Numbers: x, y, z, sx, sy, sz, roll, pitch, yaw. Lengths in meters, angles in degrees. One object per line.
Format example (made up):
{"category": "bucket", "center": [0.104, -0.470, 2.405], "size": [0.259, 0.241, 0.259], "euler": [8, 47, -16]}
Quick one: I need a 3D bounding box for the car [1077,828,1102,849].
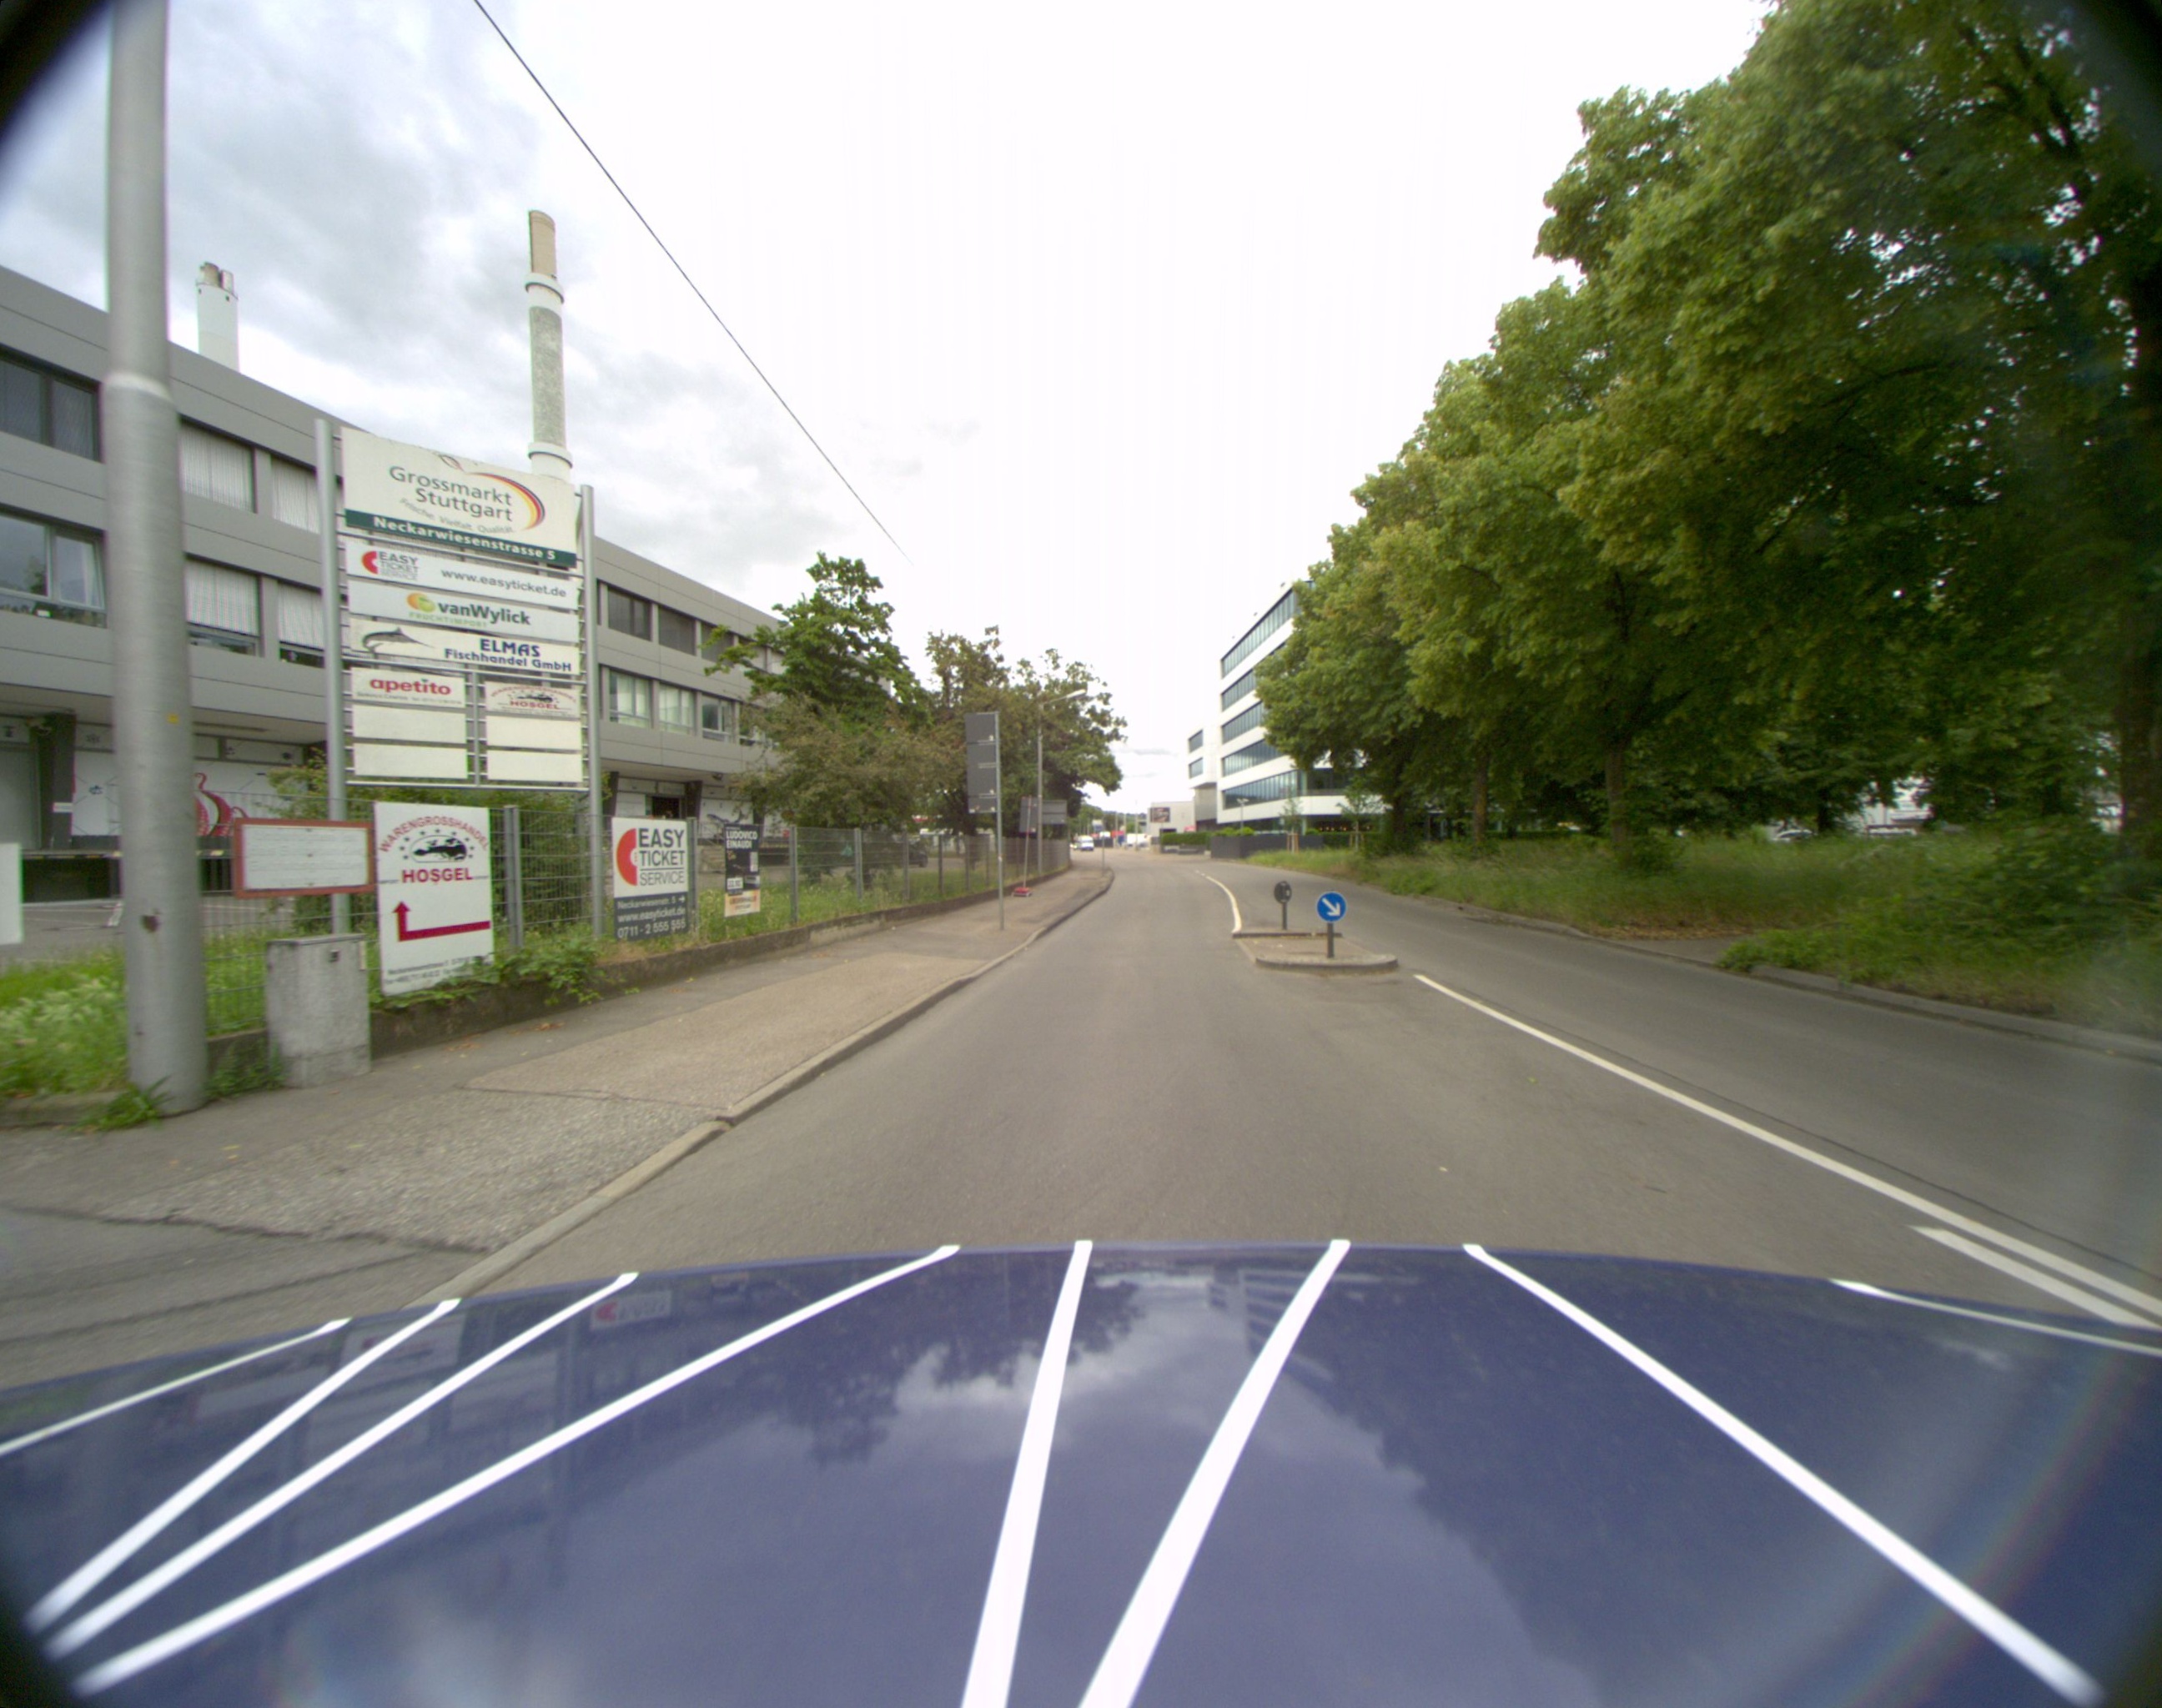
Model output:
{"category": "car", "center": [1.363, -2.688, 133.766], "size": [3.340, 3.587, 8.663], "euler": [0, 1, -6]}

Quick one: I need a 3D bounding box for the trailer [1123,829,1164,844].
{"category": "trailer", "center": [18.809, -5.275, 229.036], "size": [12.023, 4.109, 3.051], "euler": [2, 2, 15]}

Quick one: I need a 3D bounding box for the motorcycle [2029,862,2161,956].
{"category": "motorcycle", "center": [14.176, 0.720, 10.203], "size": [0.566, 1.161, 2.037], "euler": [0, 1, 9]}

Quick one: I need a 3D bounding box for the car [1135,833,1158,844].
{"category": "car", "center": [16.856, -3.934, 196.327], "size": [5.423, 2.715, 2.244], "euler": [-1, 1, 16]}

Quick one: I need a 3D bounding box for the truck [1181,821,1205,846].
{"category": "truck", "center": [18.167, -3.315, 123.301], "size": [2.745, 4.008, 7.101], "euler": [0, 1, 18]}

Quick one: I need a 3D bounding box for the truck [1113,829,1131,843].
{"category": "truck", "center": [12.395, -5.482, 230.062], "size": [4.879, 4.109, 3.047], "euler": [1, 1, -2]}

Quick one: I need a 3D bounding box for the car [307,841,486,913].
{"category": "car", "center": [-16.527, 0.457, 18.274], "size": [4.846, 1.525, 2.027], "euler": [0, 1, 34]}

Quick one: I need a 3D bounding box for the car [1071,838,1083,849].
{"category": "car", "center": [-0.784, -2.056, 149.498], "size": [1.713, 2.002, 3.886], "euler": [0, 1, -8]}

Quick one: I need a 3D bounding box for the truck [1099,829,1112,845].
{"category": "truck", "center": [6.378, -4.528, 199.562], "size": [3.367, 4.137, 5.626], "euler": [1, 1, 1]}

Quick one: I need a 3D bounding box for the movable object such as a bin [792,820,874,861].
{"category": "movable object such as a bin", "center": [-14.227, -0.786, 43.716], "size": [3.994, 2.292, 1.953], "euler": [1, 2, 10]}

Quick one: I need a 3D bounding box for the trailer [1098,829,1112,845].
{"category": "trailer", "center": [6.465, -4.638, 206.558], "size": [3.367, 4.136, 13.845], "euler": [1, 1, 1]}
